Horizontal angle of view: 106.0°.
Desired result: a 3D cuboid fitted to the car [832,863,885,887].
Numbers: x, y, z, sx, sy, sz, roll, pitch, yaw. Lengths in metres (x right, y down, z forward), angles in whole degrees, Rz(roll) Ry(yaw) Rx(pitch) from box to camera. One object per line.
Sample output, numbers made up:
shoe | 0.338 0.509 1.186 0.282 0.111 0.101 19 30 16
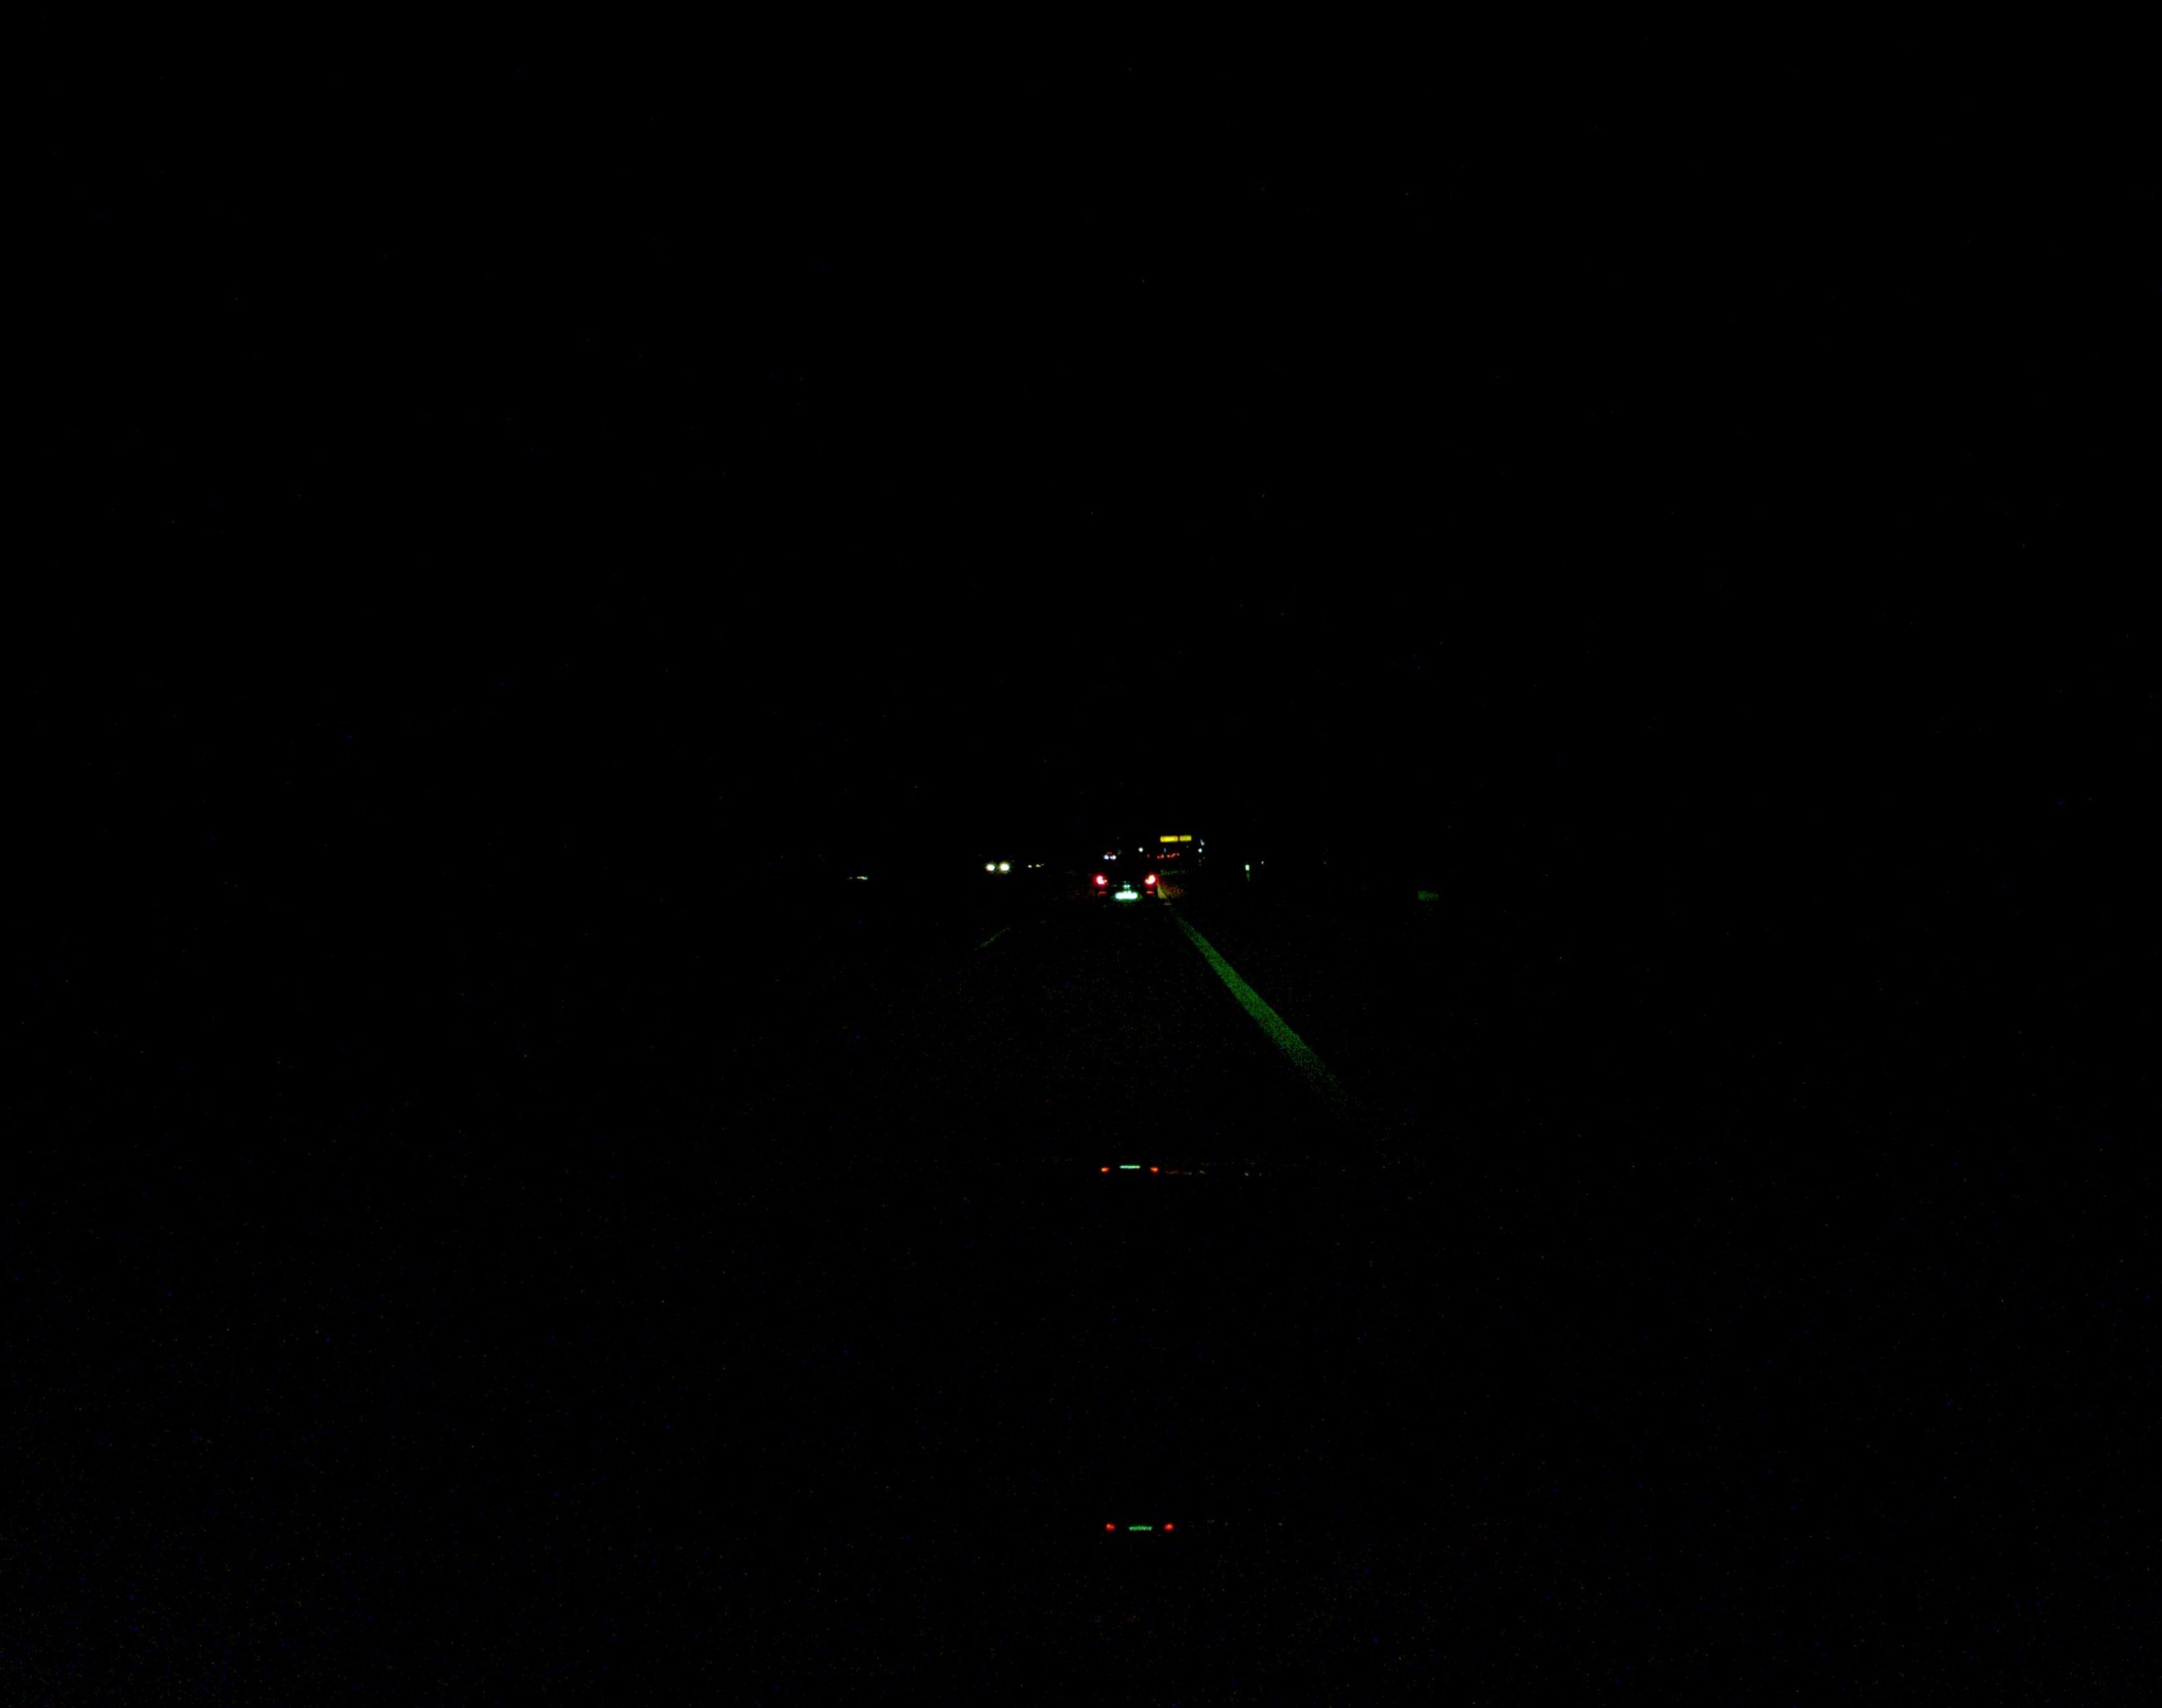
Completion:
car | -15.474 1.452 56.933 1.810 1.442 4.487 -4 0 9

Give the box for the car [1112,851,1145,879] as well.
car | 3.075 0.674 52.498 1.897 1.698 4.007 -1 0 6

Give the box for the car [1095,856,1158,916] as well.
car | 1.177 0.805 22.421 1.583 1.508 4.000 0 0 1

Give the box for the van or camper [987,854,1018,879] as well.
van or camper | -8.838 1.367 92.378 2.285 2.617 7.672 -3 0 3
